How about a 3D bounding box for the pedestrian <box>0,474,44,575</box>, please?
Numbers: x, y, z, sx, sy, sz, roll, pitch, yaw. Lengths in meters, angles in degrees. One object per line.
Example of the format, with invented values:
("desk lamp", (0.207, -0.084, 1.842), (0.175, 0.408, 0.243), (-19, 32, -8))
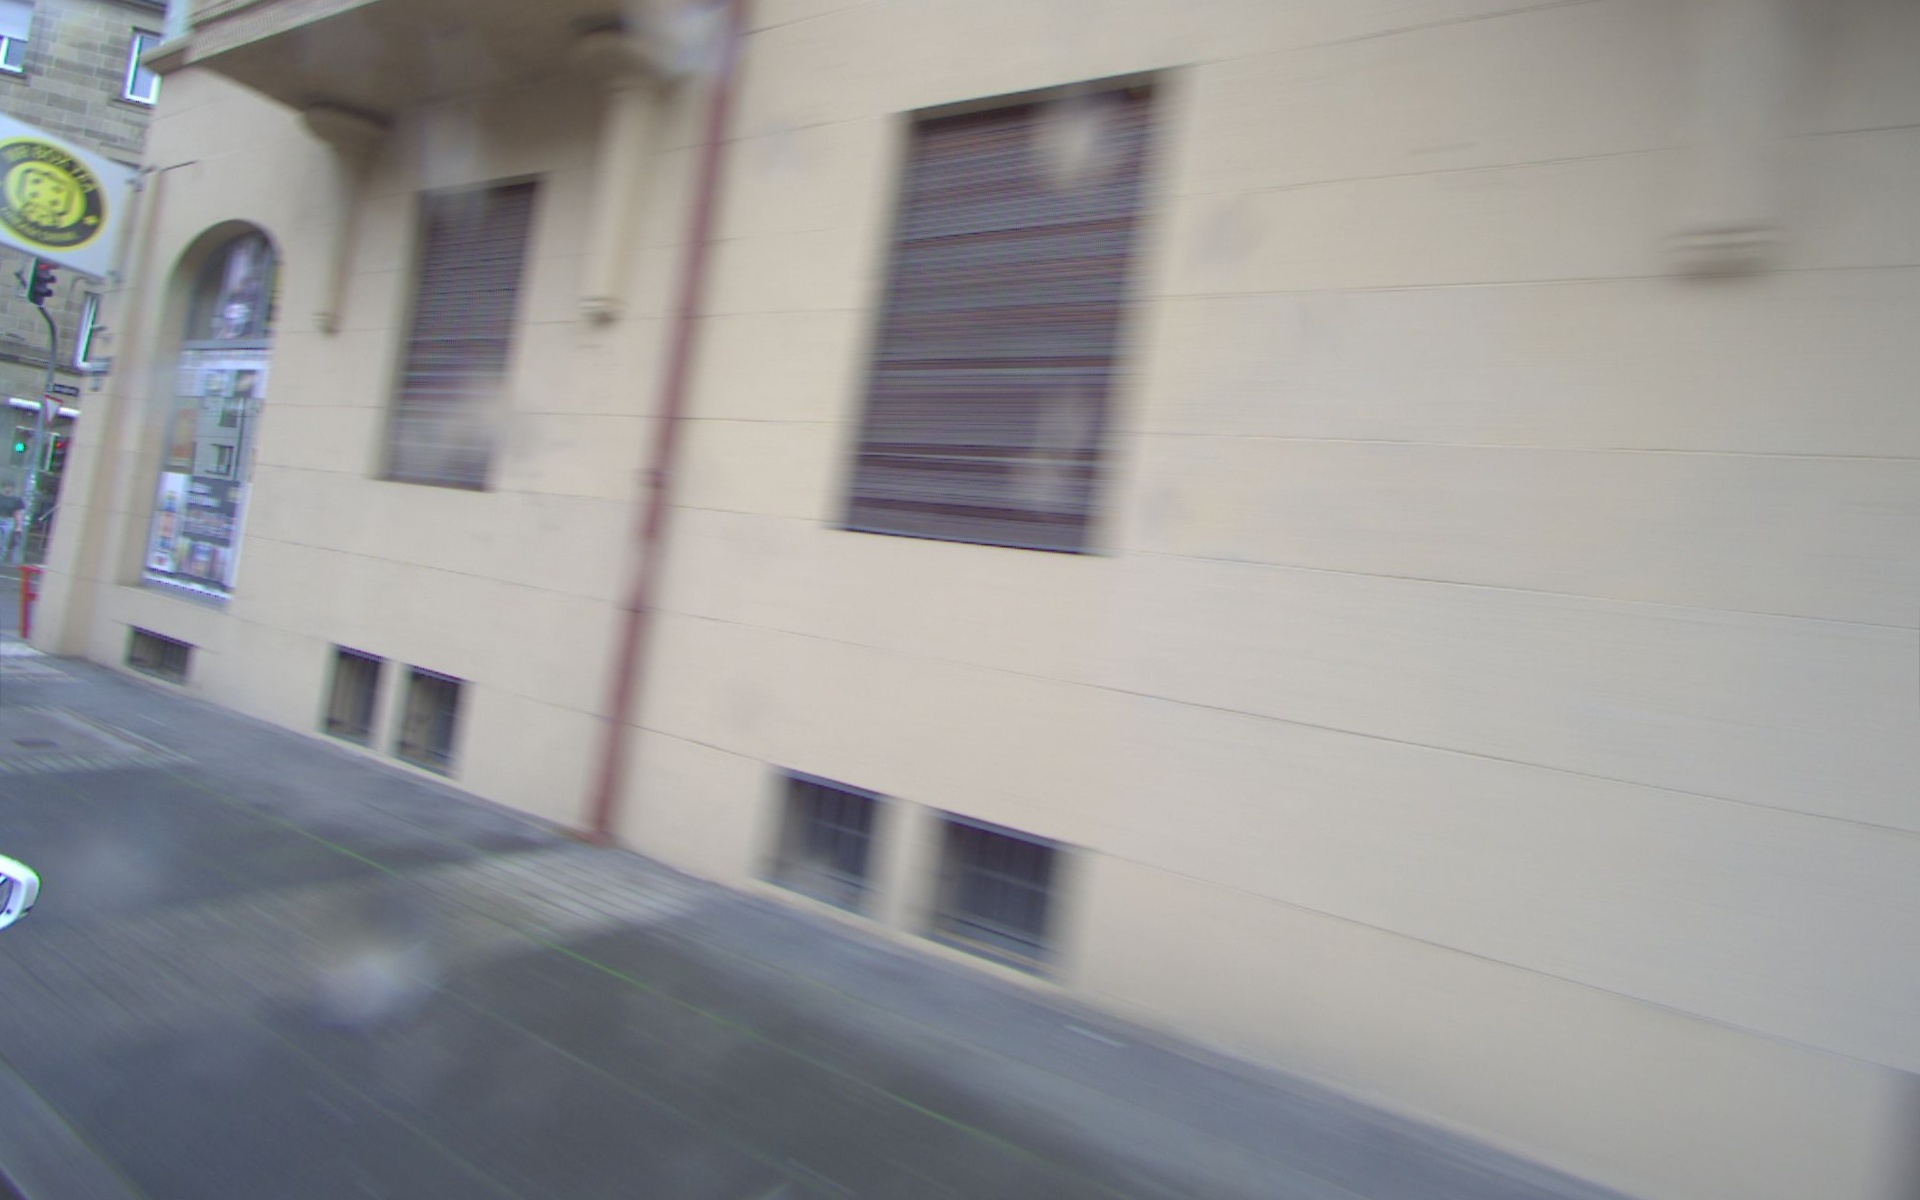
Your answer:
("pedestrian", (-17.939, -1.438, 18.905), (0.886, 1.810, 0.683), (6, 0, 28))
